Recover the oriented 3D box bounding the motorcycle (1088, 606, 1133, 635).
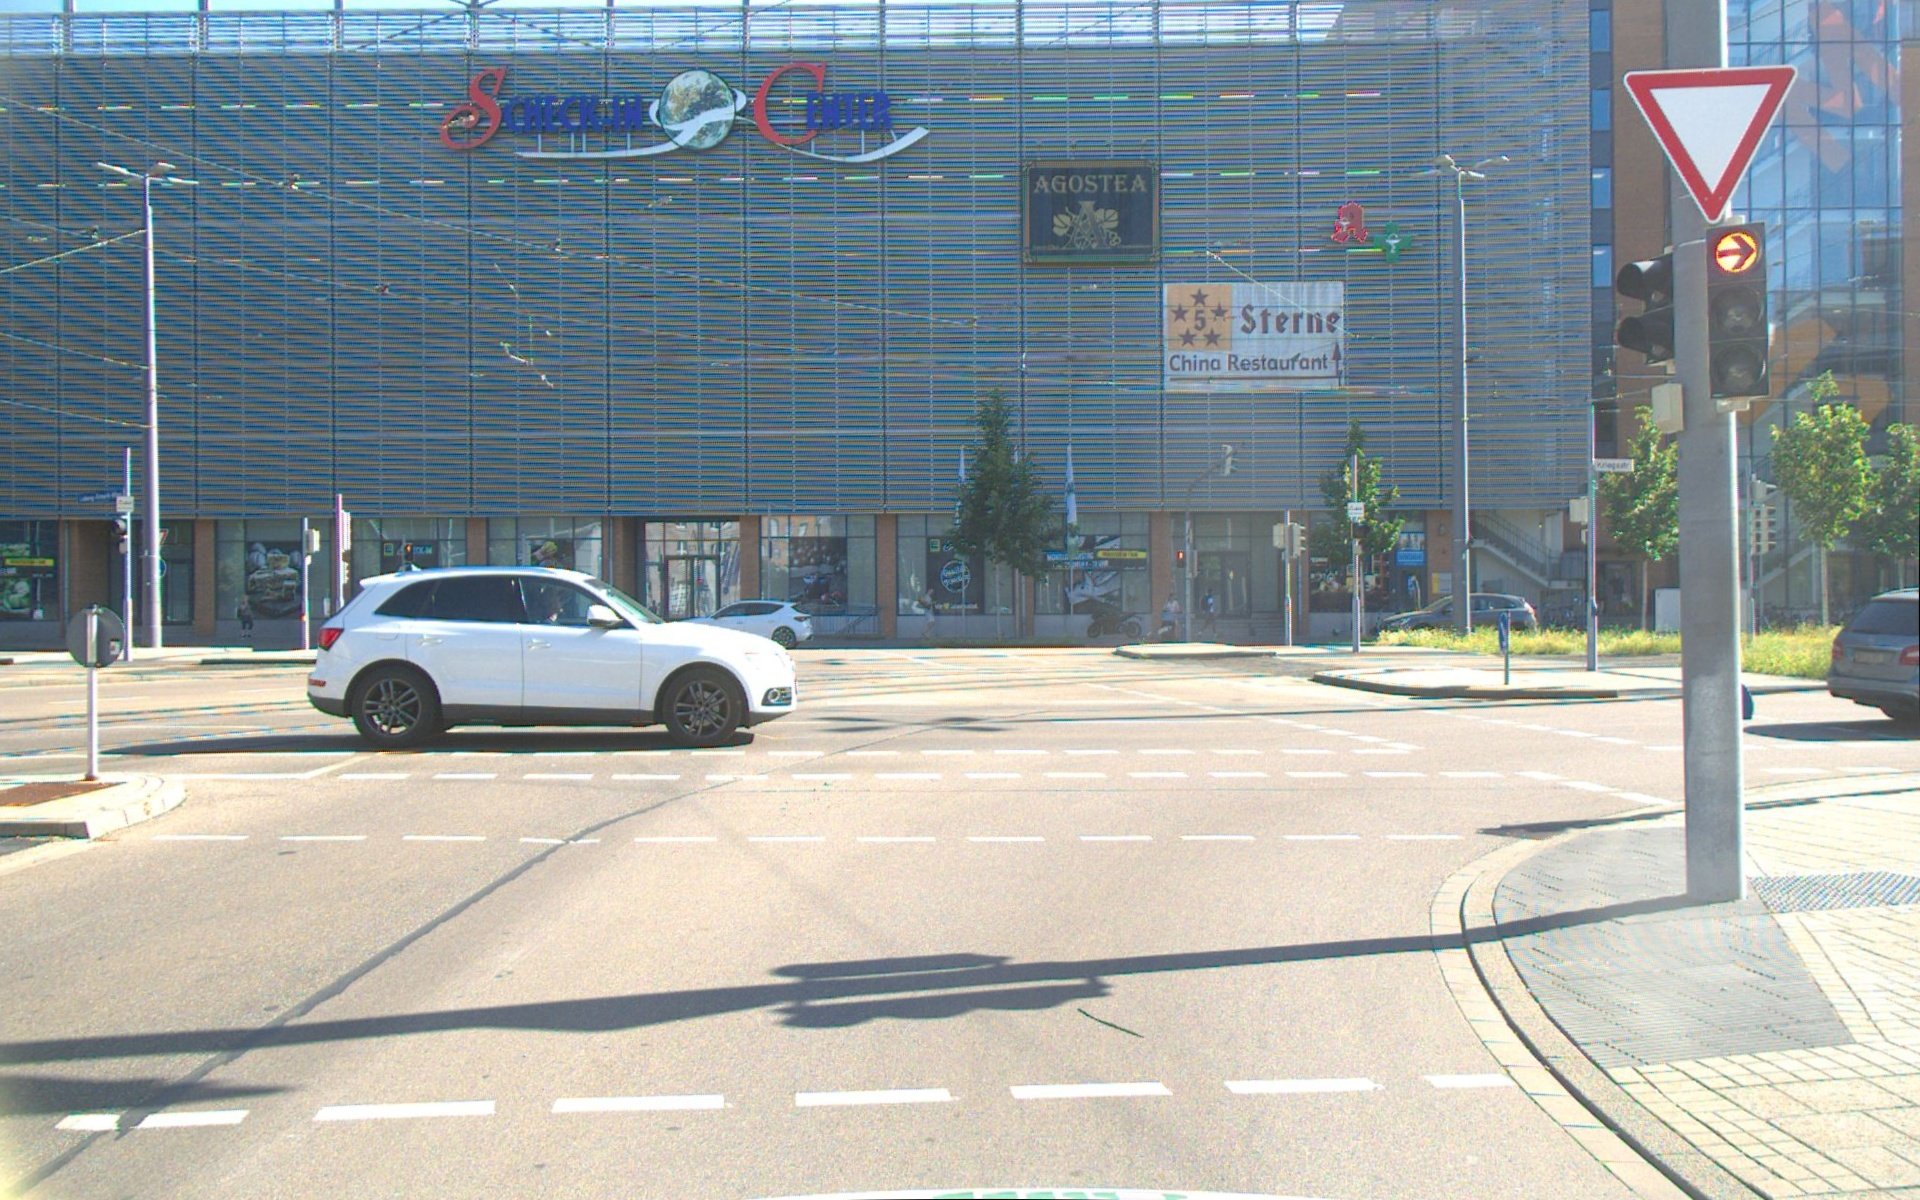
[{"bbox_3d":[5.524,0.734,60.702,1.605,1.022,0.447,1,0,6],"label":"motorcycle"}]

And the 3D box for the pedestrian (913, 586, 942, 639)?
[{"bbox_3d":[-1.165,0.449,59.702,0.930,1.860,0.846,-2,-4,5],"label":"pedestrian"}]

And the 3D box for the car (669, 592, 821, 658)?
[{"bbox_3d":[-6.316,0.729,49.019,4.203,1.673,1.840,3,-1,-2],"label":"car"}]

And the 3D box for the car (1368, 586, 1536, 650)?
[{"bbox_3d":[13.665,0.501,46.041,4.063,1.495,1.840,3,-1,-2],"label":"car"}]

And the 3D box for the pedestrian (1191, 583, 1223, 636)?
[{"bbox_3d":[8.866,0.325,59.409,0.991,1.860,1.036,-2,0,3],"label":"pedestrian"}]

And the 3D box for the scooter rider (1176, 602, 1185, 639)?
[{"bbox_3d":[7.355,0.673,55.125,0.282,1.221,0.386,1,-1,10],"label":"scooter rider"}]

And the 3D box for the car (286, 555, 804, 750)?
[{"bbox_3d":[-3.810,0.467,15.932,4.578,1.737,1.935,0,0,-6],"label":"car"}]

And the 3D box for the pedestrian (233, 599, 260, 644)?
[{"bbox_3d":[-26.605,0.797,61.667,0.646,1.629,0.594,1,-1,18],"label":"pedestrian"}]

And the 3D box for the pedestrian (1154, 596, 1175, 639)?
[{"bbox_3d":[6.852,0.583,55.358,0.641,1.438,0.850,1,-1,10],"label":"pedestrian"}]

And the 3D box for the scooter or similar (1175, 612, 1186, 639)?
[{"bbox_3d":[7.361,0.839,55.185,0.288,0.888,1.004,1,0,10],"label":"scooter or similar"}]

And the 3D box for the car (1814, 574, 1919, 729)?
[{"bbox_3d":[12.123,0.520,18.214,4.765,1.599,1.703,0,0,-9],"label":"car"}]

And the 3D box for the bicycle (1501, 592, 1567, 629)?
[{"bbox_3d":[21.283,0.396,61.347,2.209,1.318,0.605,1,-1,-2],"label":"bicycle"}]

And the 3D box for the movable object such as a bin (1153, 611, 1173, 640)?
[{"bbox_3d":[6.736,0.837,54.892,0.599,0.920,0.970,1,0,10],"label":"movable object such as a bin"}]
